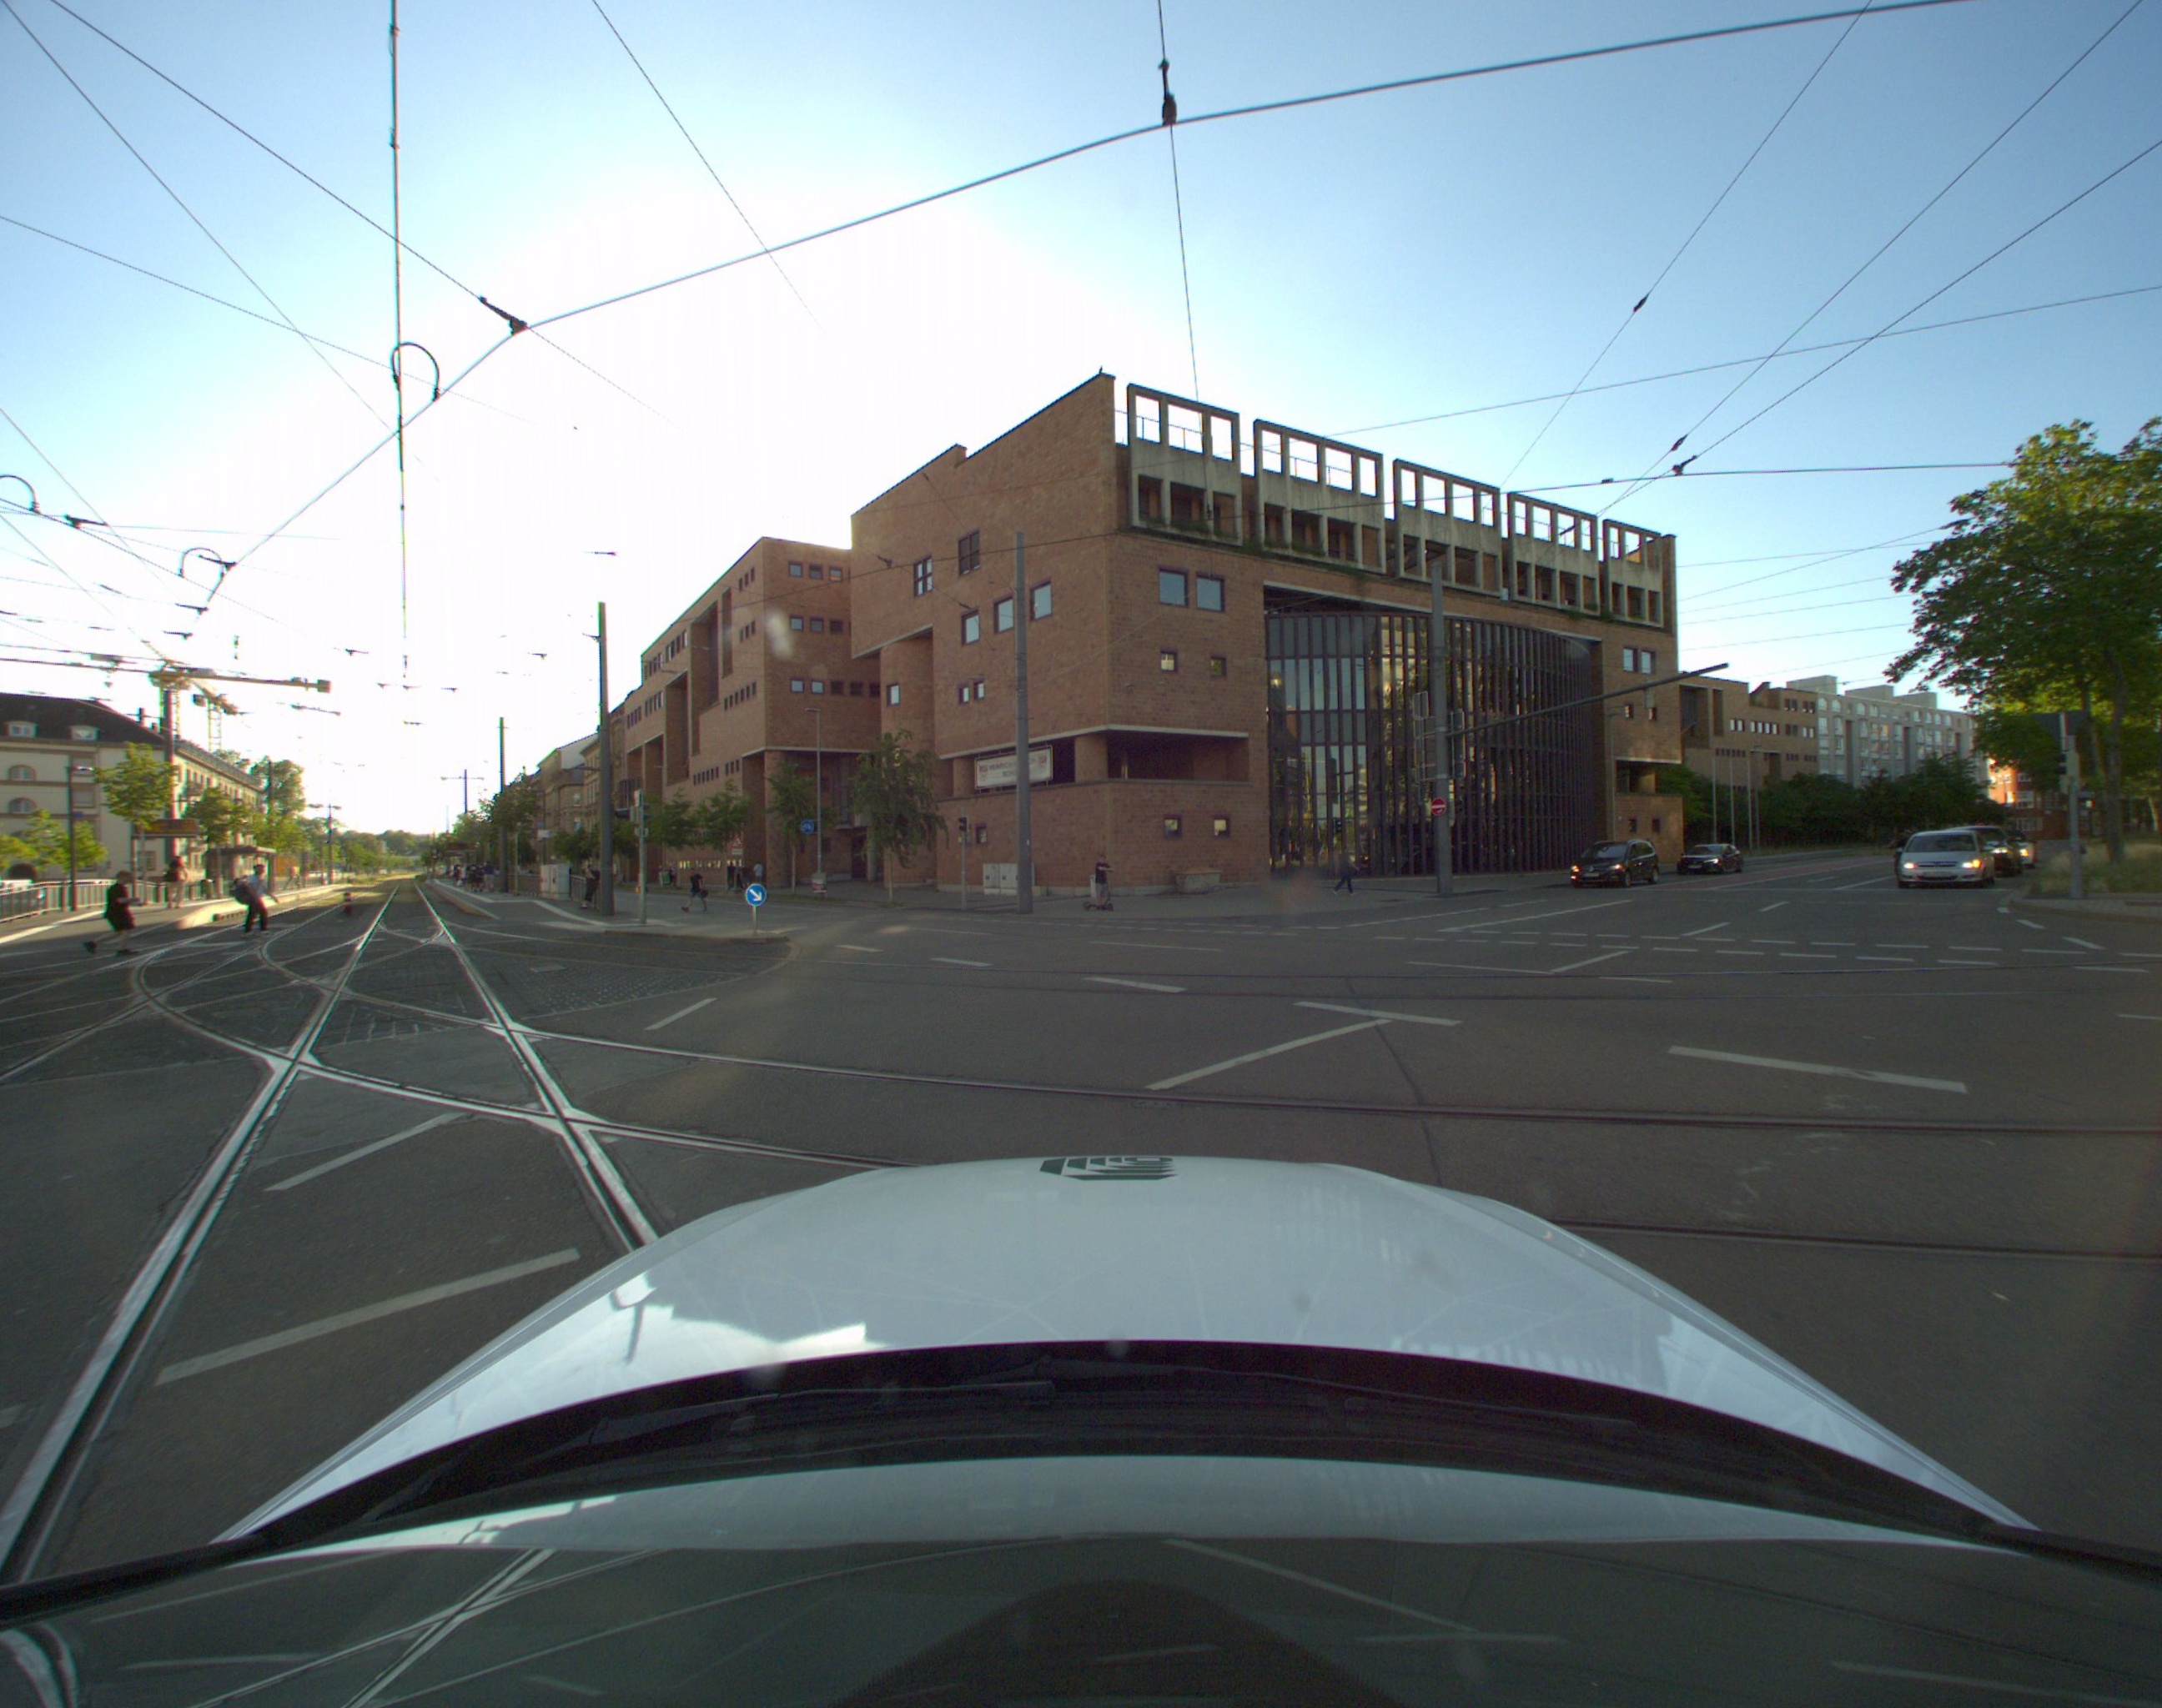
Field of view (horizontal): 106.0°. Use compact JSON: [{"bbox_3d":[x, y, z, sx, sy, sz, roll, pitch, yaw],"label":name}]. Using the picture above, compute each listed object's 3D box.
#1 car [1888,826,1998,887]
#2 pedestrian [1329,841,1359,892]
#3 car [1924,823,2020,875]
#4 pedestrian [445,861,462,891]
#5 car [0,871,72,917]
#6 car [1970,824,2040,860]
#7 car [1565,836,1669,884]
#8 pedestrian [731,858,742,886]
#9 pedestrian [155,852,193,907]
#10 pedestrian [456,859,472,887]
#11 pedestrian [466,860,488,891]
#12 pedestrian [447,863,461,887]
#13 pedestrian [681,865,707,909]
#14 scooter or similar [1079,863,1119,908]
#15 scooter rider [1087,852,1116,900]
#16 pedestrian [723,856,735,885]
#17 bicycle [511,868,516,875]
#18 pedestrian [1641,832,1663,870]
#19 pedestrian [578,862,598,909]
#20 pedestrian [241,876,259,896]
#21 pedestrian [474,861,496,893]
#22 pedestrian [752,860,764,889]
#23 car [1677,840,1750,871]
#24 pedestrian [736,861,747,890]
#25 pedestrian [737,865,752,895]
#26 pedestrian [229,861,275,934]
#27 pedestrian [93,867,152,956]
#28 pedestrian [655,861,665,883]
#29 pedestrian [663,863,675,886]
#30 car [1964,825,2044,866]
[{"bbox_3d":[24.869,0.037,23.455,4.346,1.597,1.716,-1,0,-38],"label":"car"},{"bbox_3d":[9.200,0.435,28.548,0.818,1.716,0.665,-2,0,3],"label":"pedestrian"},{"bbox_3d":[30.777,-0.193,28.098,4.346,1.650,1.838,-1,0,-38],"label":"car"},{"bbox_3d":[-35.127,1.219,45.604,0.662,1.672,0.664,-1,0,-42],"label":"pedestrian"},{"bbox_3d":[-47.271,1.741,36.392,1.902,1.866,4.265,-1,1,-40],"label":"car"},{"bbox_3d":[42.971,-0.546,37.834,4.346,1.552,1.838,-1,0,-38],"label":"car"},{"bbox_3d":[20.106,0.199,30.484,4.522,1.654,1.818,-1,-1,-38],"label":"car"},{"bbox_3d":[-21.830,1.136,51.630,0.541,1.756,0.417,-1,-1,-38],"label":"pedestrian"},{"bbox_3d":[-28.859,0.800,25.923,0.682,1.684,0.570,-1,0,-35],"label":"pedestrian"},{"bbox_3d":[-32.942,1.008,43.490,0.687,1.483,0.820,-1,-1,-36],"label":"pedestrian"},{"bbox_3d":[-34.183,1.202,46.061,0.895,1.672,1.082,-1,0,-42],"label":"pedestrian"},{"bbox_3d":[-44.733,1.497,58.105,0.725,1.732,0.644,-1,-1,-41],"label":"pedestrian"},{"bbox_3d":[-13.784,1.167,28.990,0.718,1.538,0.843,-1,0,-32],"label":"pedestrian"},{"bbox_3d":[0.562,0.963,25.023,1.118,1.318,0.532,-2,-1,42],"label":"scooter or similar"},{"bbox_3d":[0.629,0.668,24.962,0.713,1.461,0.511,-2,-1,43],"label":"scooter rider"},{"bbox_3d":[-21.961,1.038,50.762,0.541,1.756,0.459,-1,-1,-41],"label":"pedestrian"},{"bbox_3d":[-116.670,3.634,167.330,0.666,1.402,2.324,-1,1,-40],"label":"bicycle"},{"bbox_3d":[30.706,-0.152,43.804,0.888,2.013,0.763,-2,0,38],"label":"pedestrian"},{"bbox_3d":[-16.577,1.048,27.364,0.492,1.538,0.546,-1,0,-26],"label":"pedestrian"},{"bbox_3d":[-49.763,1.922,48.776,0.678,1.189,0.895,-1,0,-40],"label":"pedestrian"},{"bbox_3d":[-31.893,1.202,43.576,0.895,1.672,0.664,-1,0,-42],"label":"pedestrian"},{"bbox_3d":[-19.817,1.239,49.940,0.539,1.756,0.689,-1,0,-30],"label":"pedestrian"},{"bbox_3d":[29.833,0.049,38.384,4.021,1.376,1.899,-1,0,-40],"label":"car"},{"bbox_3d":[-20.941,1.334,50.225,0.539,1.756,0.689,-1,0,-30],"label":"pedestrian"},{"bbox_3d":[-20.343,1.564,49.236,0.733,1.756,0.692,-1,0,-12],"label":"pedestrian"},{"bbox_3d":[-20.272,1.047,19.918,0.768,1.717,0.645,-2,0,35],"label":"pedestrian"},{"bbox_3d":[-19.064,1.127,16.201,0.740,1.702,0.628,-2,0,31],"label":"pedestrian"},{"bbox_3d":[-32.767,1.399,63.435,0.416,1.756,0.541,-2,-1,36],"label":"pedestrian"},{"bbox_3d":[-30.647,1.522,60.542,0.633,1.713,0.576,-2,-1,45],"label":"pedestrian"},{"bbox_3d":[37.453,-0.359,33.025,4.346,1.552,1.838,-1,0,-38],"label":"car"}]
